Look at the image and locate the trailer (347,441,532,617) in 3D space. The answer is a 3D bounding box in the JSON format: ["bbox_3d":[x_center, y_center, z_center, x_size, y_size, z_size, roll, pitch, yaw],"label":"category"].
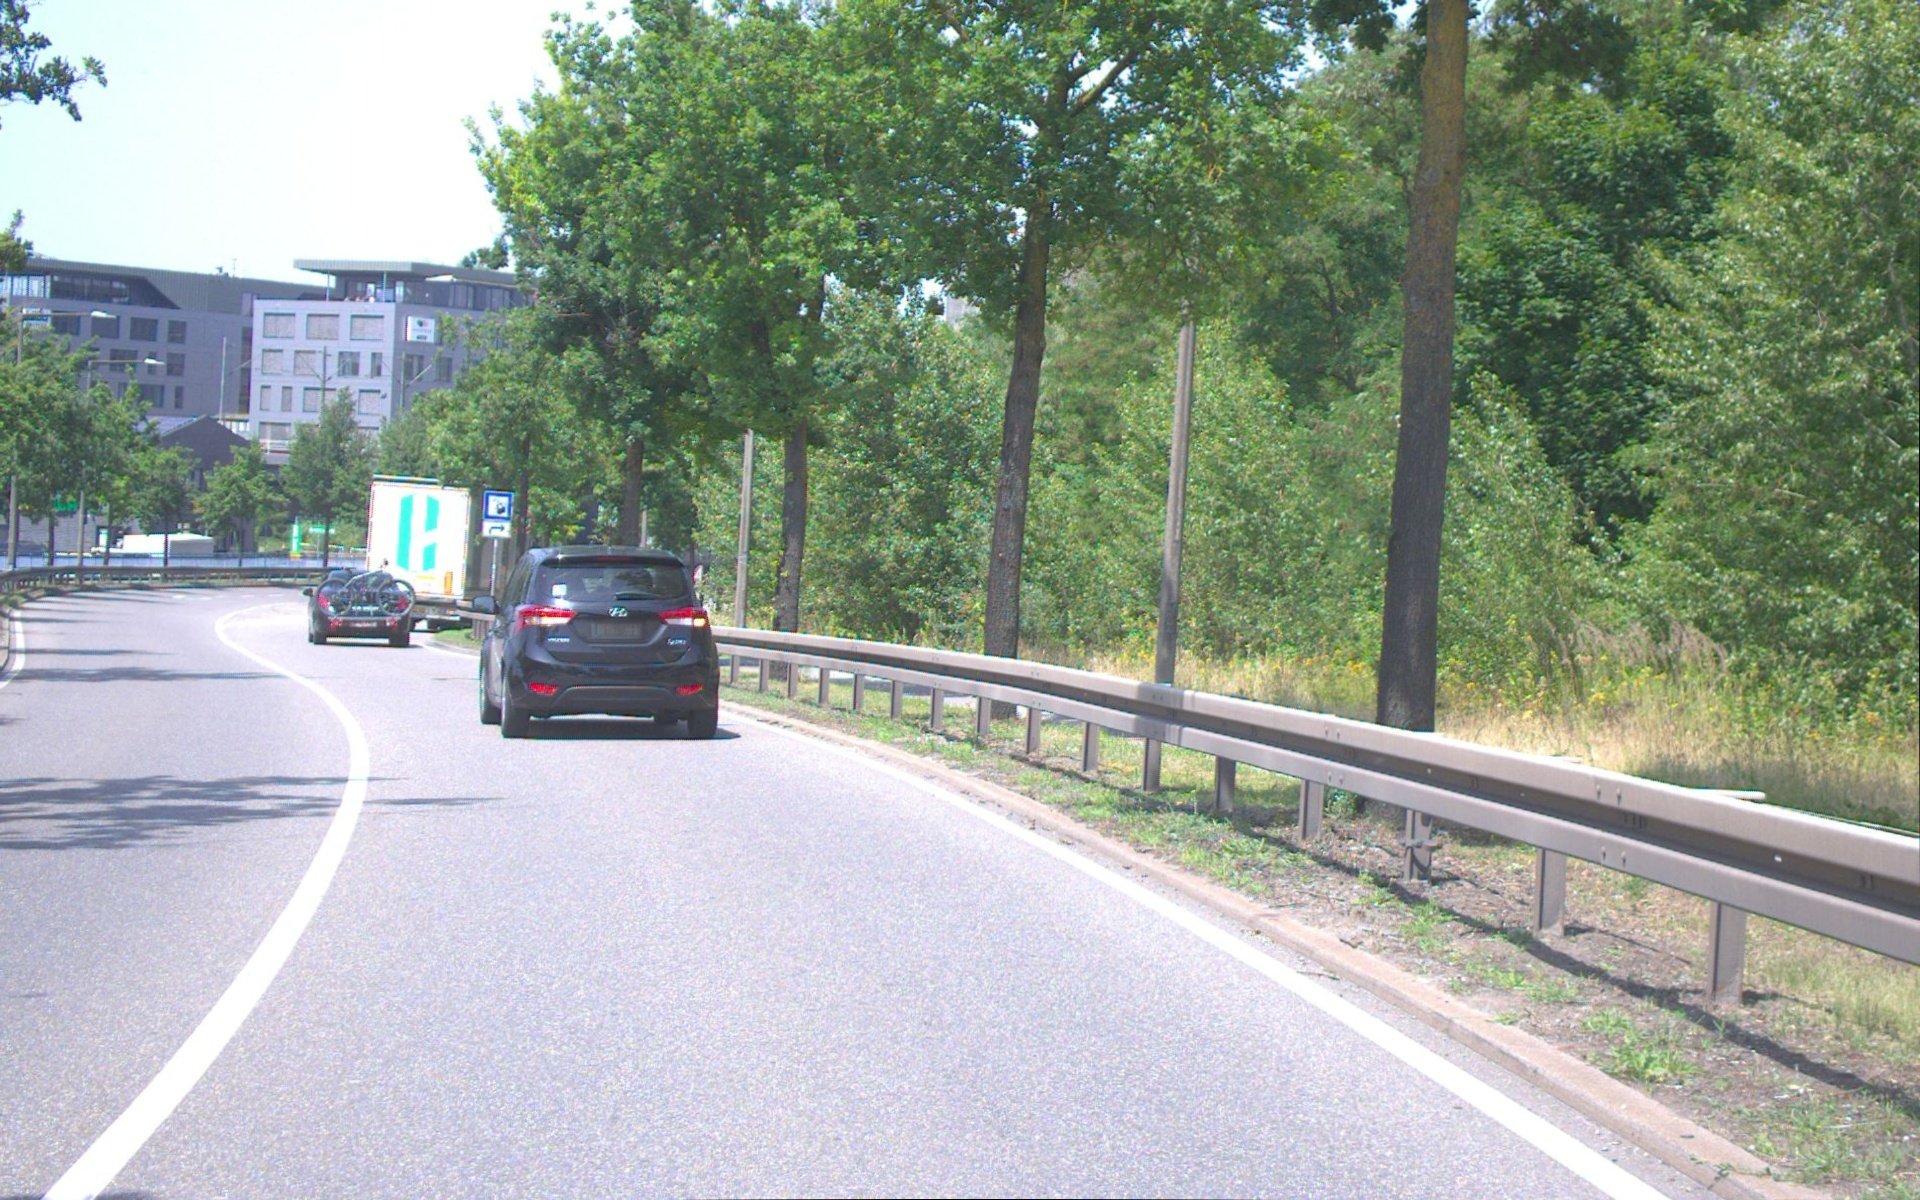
[{"bbox_3d":[-14.265,-2.019,95.518,3.078,4.353,14.776,3,1,-2],"label":"trailer"}]

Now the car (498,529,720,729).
[{"bbox_3d":[-3.075,0.218,29.500,1.766,1.594,4.078,0,0,-8],"label":"car"}]

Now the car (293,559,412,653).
[{"bbox_3d":[-11.369,0.091,64.165,1.956,1.628,4.281,2,0,-12],"label":"car"}]
